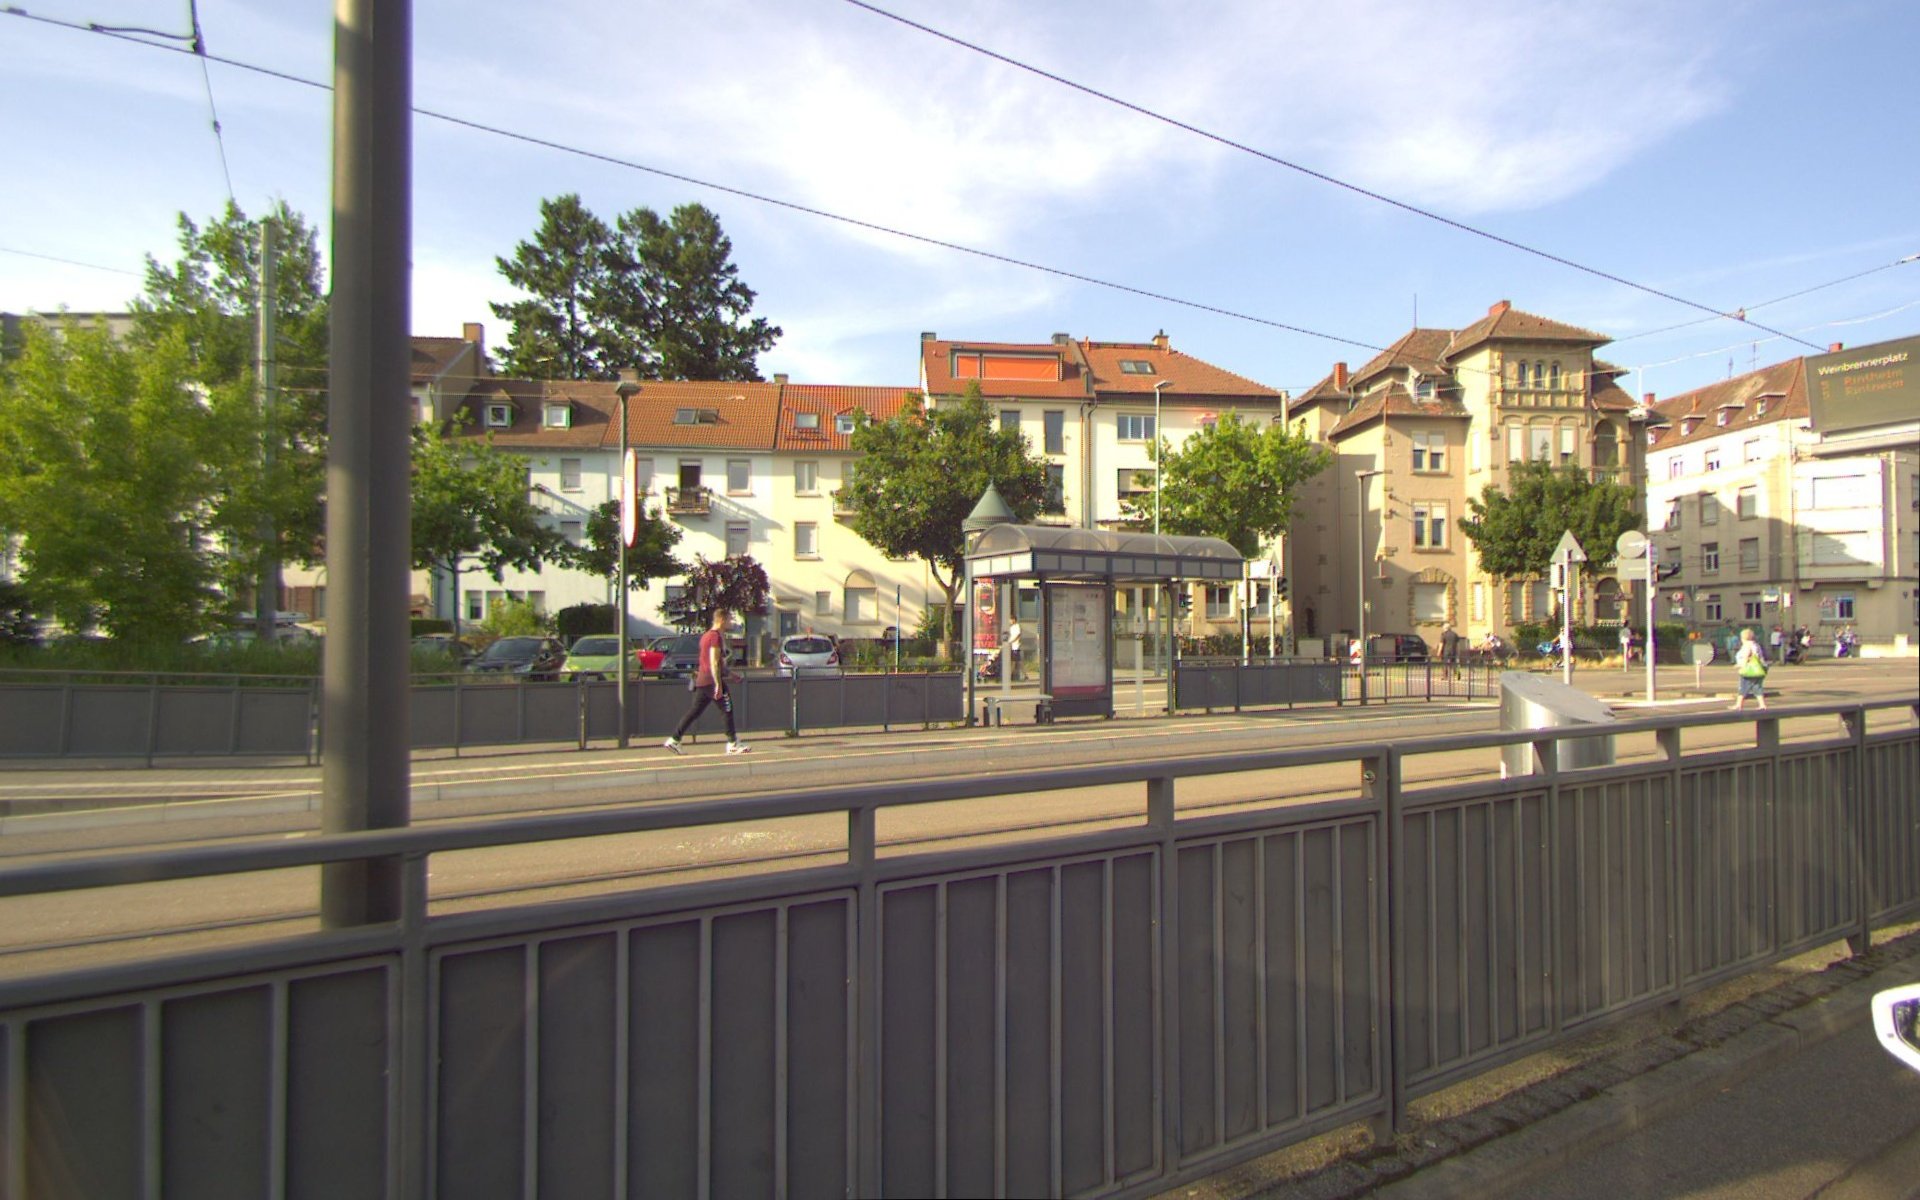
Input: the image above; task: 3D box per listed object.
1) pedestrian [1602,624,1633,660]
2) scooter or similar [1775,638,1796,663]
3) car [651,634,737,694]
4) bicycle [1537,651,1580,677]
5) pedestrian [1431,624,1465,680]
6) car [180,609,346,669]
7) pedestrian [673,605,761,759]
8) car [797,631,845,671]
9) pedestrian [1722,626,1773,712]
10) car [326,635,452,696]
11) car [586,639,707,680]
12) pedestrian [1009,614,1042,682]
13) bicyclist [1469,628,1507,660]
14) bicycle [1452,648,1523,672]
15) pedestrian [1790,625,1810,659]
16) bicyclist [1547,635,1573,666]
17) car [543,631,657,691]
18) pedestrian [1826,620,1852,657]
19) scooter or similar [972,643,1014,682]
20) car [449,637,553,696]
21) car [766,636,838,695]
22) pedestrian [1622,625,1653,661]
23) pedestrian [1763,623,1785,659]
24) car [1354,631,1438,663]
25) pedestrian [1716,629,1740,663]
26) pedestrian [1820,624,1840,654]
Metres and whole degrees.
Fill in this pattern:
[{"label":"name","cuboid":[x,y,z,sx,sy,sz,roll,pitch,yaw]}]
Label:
[{"label":"pedestrian","cuboid":[29.448,1.878,44.976,0.768,1.572,0.831,0,-2,-8]},{"label":"scooter or similar","cuboid":[37.722,2.300,45.912,0.675,1.093,0.541,2,0,-30]},{"label":"car","cuboid":[-7.164,1.688,27.405,1.815,1.505,3.995,0,-2,-9]},{"label":"bicycle","cuboid":[21.013,2.241,35.273,1.665,0.845,0.524,1,-2,-29]},{"label":"pedestrian","cuboid":[14.774,1.569,30.407,0.778,1.667,0.757,-1,-2,16]},{"label":"car","cuboid":[-18.664,1.053,27.134,1.813,1.505,3.999,0,-2,-3]},{"label":"pedestrian","cuboid":[-2.816,0.938,11.622,0.867,1.706,0.551,1,-5,-30]},{"label":"car","cuboid":[-6.059,2.199,44.202,1.962,1.684,3.997,0,-2,-6]},{"label":"pedestrian","cuboid":[15.313,1.326,19.531,0.627,1.620,0.608,1,-2,-36]},{"label":"car","cuboid":[-14.405,1.602,25.589,1.968,1.416,3.985,0,-2,-18]},{"label":"car","cuboid":[-11.227,2.124,36.242,3.927,1.416,1.836,0,-2,-9]},{"label":"pedestrian","cuboid":[1.735,1.265,26.630,0.750,1.769,0.547,0,-2,-14]},{"label":"bicyclist","cuboid":[20.939,1.736,39.867,1.157,1.278,0.762,1,-2,-22]},{"label":"bicycle","cuboid":[20.942,2.376,39.862,2.954,0.926,0.783,1,-2,-22]},{"label":"pedestrian","cuboid":[37.693,1.868,45.055,0.540,1.520,0.437,0,-2,-15]},{"label":"bicyclist","cuboid":[21.119,1.778,35.338,0.671,1.058,0.510,1,-2,-29]},{"label":"car","cuboid":[-9.659,1.617,27.261,1.813,1.505,3.999,0,-2,-3]},{"label":"pedestrian","cuboid":[49.550,2.175,56.633,0.773,2.040,0.775,0,-2,-15]},{"label":"scooter or similar","cuboid":[0.867,1.644,26.396,1.006,1.001,0.556,0,-2,-15]},{"label":"car","cuboid":[-11.884,1.677,26.249,1.968,1.416,3.985,0,-2,-18]},{"label":"car","cuboid":[-4.350,1.766,27.819,1.815,1.505,3.995,0,-2,-9]},{"label":"pedestrian","cuboid":[29.703,1.884,44.058,0.768,1.572,0.831,0,-2,-8]},{"label":"pedestrian","cuboid":[37.063,1.858,45.734,0.600,1.647,0.507,1,-2,-24]},{"label":"car","cuboid":[20.369,2.173,47.121,1.732,1.327,4.111,2,0,-7]},{"label":"pedestrian","cuboid":[35.550,2.145,46.507,0.702,1.561,0.626,1,-2,-30]},{"label":"pedestrian","cuboid":[48.733,2.173,56.262,0.576,1.682,0.620,0,-2,-14]}]
